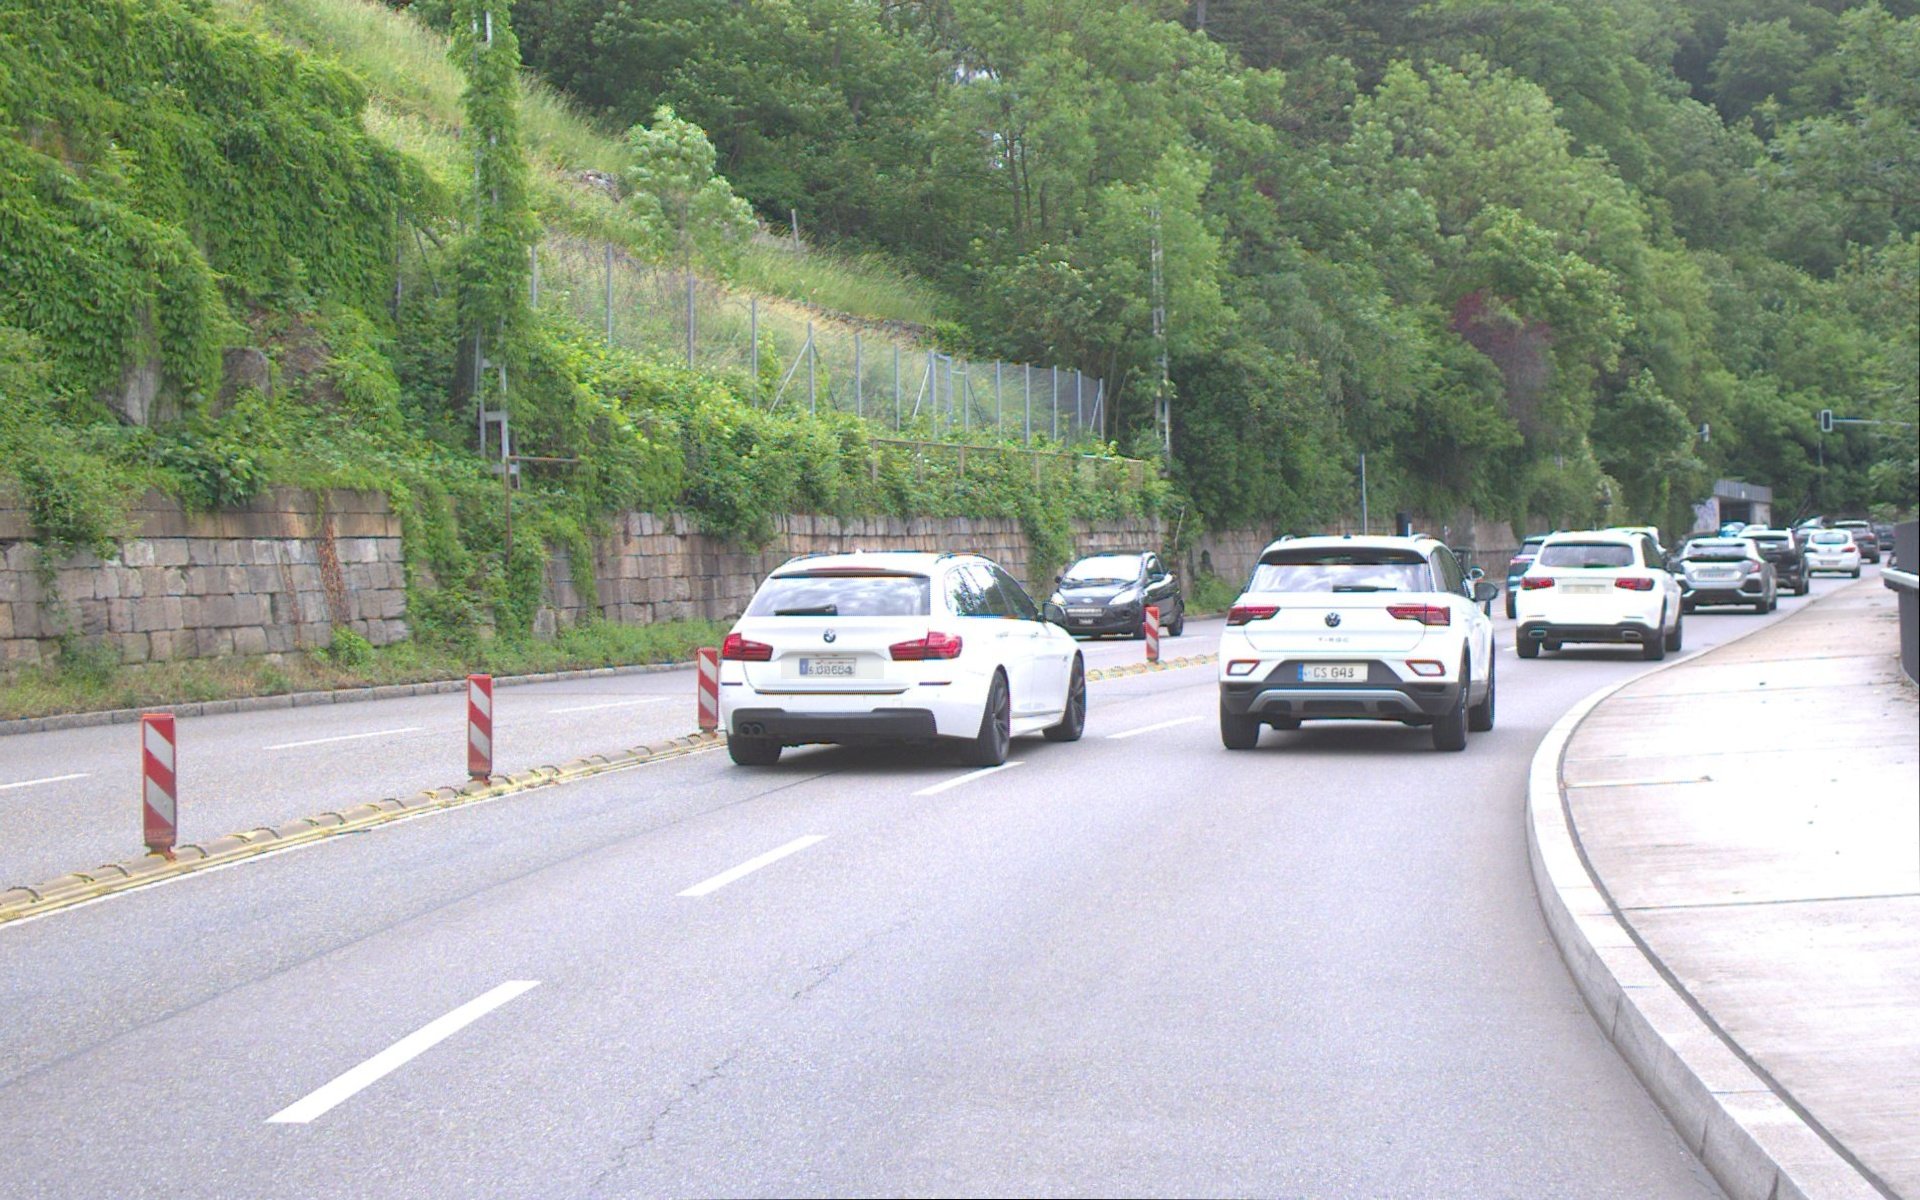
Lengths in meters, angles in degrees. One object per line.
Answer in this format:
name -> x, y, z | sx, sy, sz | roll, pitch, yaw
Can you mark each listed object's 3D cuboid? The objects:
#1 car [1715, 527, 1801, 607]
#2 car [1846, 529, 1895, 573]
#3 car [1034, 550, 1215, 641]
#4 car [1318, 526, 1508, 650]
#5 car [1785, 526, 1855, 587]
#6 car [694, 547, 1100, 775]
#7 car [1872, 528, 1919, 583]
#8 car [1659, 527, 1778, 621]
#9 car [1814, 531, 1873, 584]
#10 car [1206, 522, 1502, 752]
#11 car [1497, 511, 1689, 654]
car -> 18.157, -0.750, 78.164 | 1.745, 1.775, 3.531 | 0, 1, 16
car -> 41.990, -2.269, 158.437 | 1.995, 2.007, 3.997 | 0, 1, 17
car -> 2.784, -0.099, 57.268 | 1.708, 1.437, 3.995 | 0, 1, 24
car -> 6.393, -0.182, 48.077 | 1.995, 1.498, 4.664 | 5, 2, 14
car -> 26.621, -1.353, 106.376 | 1.995, 1.853, 3.997 | 0, 1, 16
car -> -0.334, 0.368, 24.596 | 1.829, 1.454, 4.483 | -1, 1, 13
car -> 26.526, -1.269, 95.937 | 1.815, 1.503, 3.998 | 0, 1, 11
car -> 14.292, -0.504, 64.655 | 1.995, 1.711, 3.997 | 0, 1, 15
car -> 33.830, -1.621, 131.609 | 1.995, 2.007, 3.997 | 0, 1, 17
car -> 3.064, 0.228, 26.091 | 1.829, 1.600, 3.998 | 0, 1, 12
car -> 8.330, -0.218, 44.982 | 1.995, 1.712, 4.110 | -2, -1, 16
